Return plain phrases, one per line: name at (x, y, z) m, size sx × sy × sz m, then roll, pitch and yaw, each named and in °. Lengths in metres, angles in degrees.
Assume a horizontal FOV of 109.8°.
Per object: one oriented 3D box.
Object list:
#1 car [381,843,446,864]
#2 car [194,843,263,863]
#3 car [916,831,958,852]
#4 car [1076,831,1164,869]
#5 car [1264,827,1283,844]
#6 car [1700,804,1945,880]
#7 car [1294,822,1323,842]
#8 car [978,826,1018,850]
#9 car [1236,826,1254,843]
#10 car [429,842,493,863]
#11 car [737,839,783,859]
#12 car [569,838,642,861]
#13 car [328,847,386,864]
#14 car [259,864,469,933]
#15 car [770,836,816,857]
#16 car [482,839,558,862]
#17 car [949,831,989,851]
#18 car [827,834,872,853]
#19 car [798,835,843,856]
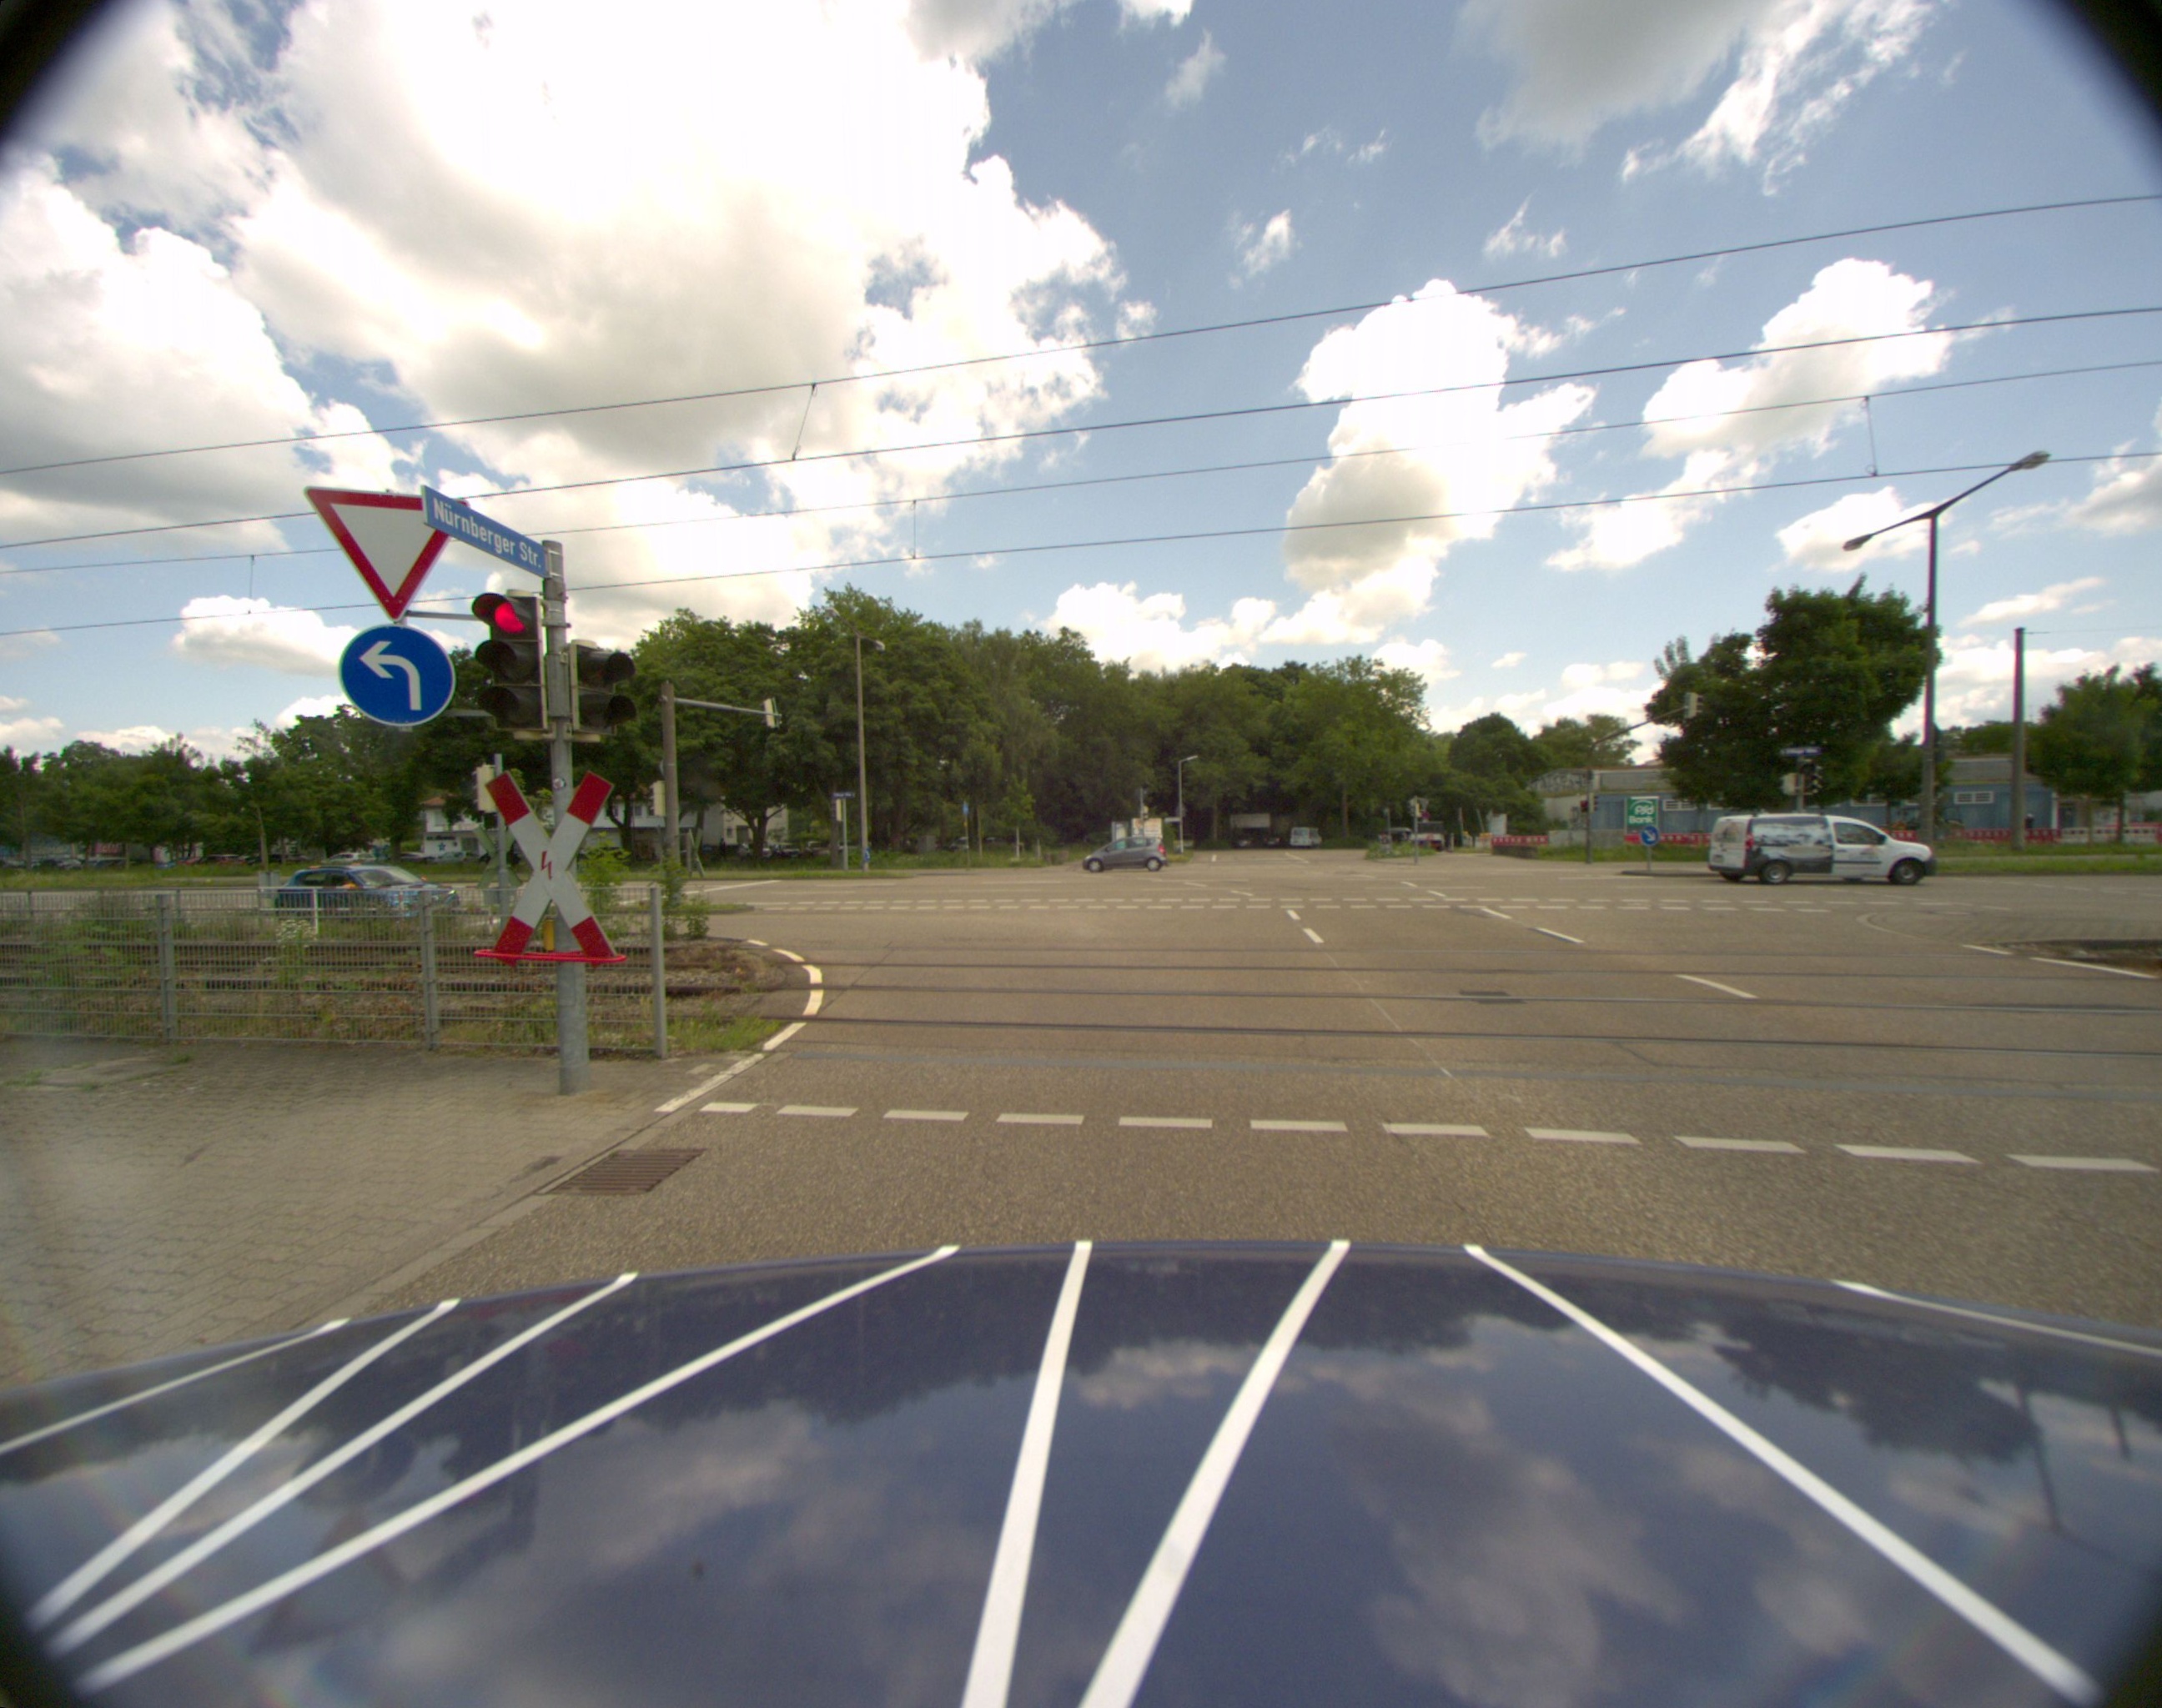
car at (-53.663, -0.044, 61.101) m, size 4.016 × 1.579 × 1.765 m, roll -1°, pitch 2°, yaw 11°
car at (-71.909, -0.109, 64.106) m, size 4.016 × 1.579 × 2.001 m, roll -1°, pitch 2°, yaw 11°
car at (-12.707, -1.126, 67.457) m, size 1.815 × 1.718 × 4.132 m, roll -1°, pitch 2°, yaw 19°
car at (1.799, -0.189, 34.224) m, size 3.767 × 1.585 × 1.792 m, roll -1°, pitch 2°, yaw 8°
car at (18.400, -1.750, 72.730) m, size 1.617 × 1.500 × 3.621 m, roll -1°, pitch 3°, yaw 11°
car at (18.657, -0.322, 19.343) m, size 4.149 × 1.776 × 1.749 m, roll -1°, pitch 3°, yaw 12°
car at (21.452, -2.071, 71.585) m, size 1.932 × 1.783 × 3.624 m, roll 0°, pitch 4°, yaw 28°
car at (-7.163, -1.408, 65.764) m, size 1.996 × 2.002 × 4.004 m, roll -1°, pitch 2°, yaw 17°
car at (15.844, -1.865, 73.383) m, size 1.617 × 1.500 × 3.621 m, roll -1°, pitch 3°, yaw 11°
car at (-49.421, -0.139, 60.595) m, size 3.660 × 1.579 × 1.924 m, roll -1°, pitch 2°, yaw 11°
car at (-25.035, -0.404, 59.198) m, size 2.004 × 1.475 × 4.011 m, roll -3°, pitch 2°, yaw -43°
car at (-36.809, -0.366, 58.908) m, size 4.361 × 1.648 × 1.811 m, roll -1°, pitch 3°, yaw -1°
car at (-59.028, 0.120, 61.939) m, size 3.471 × 1.324 × 1.627 m, roll -1°, pitch 2°, yaw 11°
car at (-16.467, 1.005, 17.523) m, size 3.697 × 1.456 × 1.606 m, roll -1°, pitch 1°, yaw 11°
car at (-23.216, -0.592, 61.101) m, size 2.004 × 1.579 × 4.011 m, roll -3°, pitch 2°, yaw -43°
car at (-43.805, -0.271, 59.371) m, size 4.921 × 1.701 × 1.890 m, roll -1°, pitch 2°, yaw 11°
car at (-9.878, -1.177, 67.251) m, size 1.815 × 1.700 × 4.132 m, roll -1°, pitch 2°, yaw 19°
car at (-19.680, -0.902, 64.539) m, size 2.004 × 1.536 × 4.011 m, roll -3°, pitch 2°, yaw -43°
car at (-21.572, -0.674, 62.902) m, size 2.004 × 1.578 × 4.012 m, roll -3°, pitch 1°, yaw -43°
